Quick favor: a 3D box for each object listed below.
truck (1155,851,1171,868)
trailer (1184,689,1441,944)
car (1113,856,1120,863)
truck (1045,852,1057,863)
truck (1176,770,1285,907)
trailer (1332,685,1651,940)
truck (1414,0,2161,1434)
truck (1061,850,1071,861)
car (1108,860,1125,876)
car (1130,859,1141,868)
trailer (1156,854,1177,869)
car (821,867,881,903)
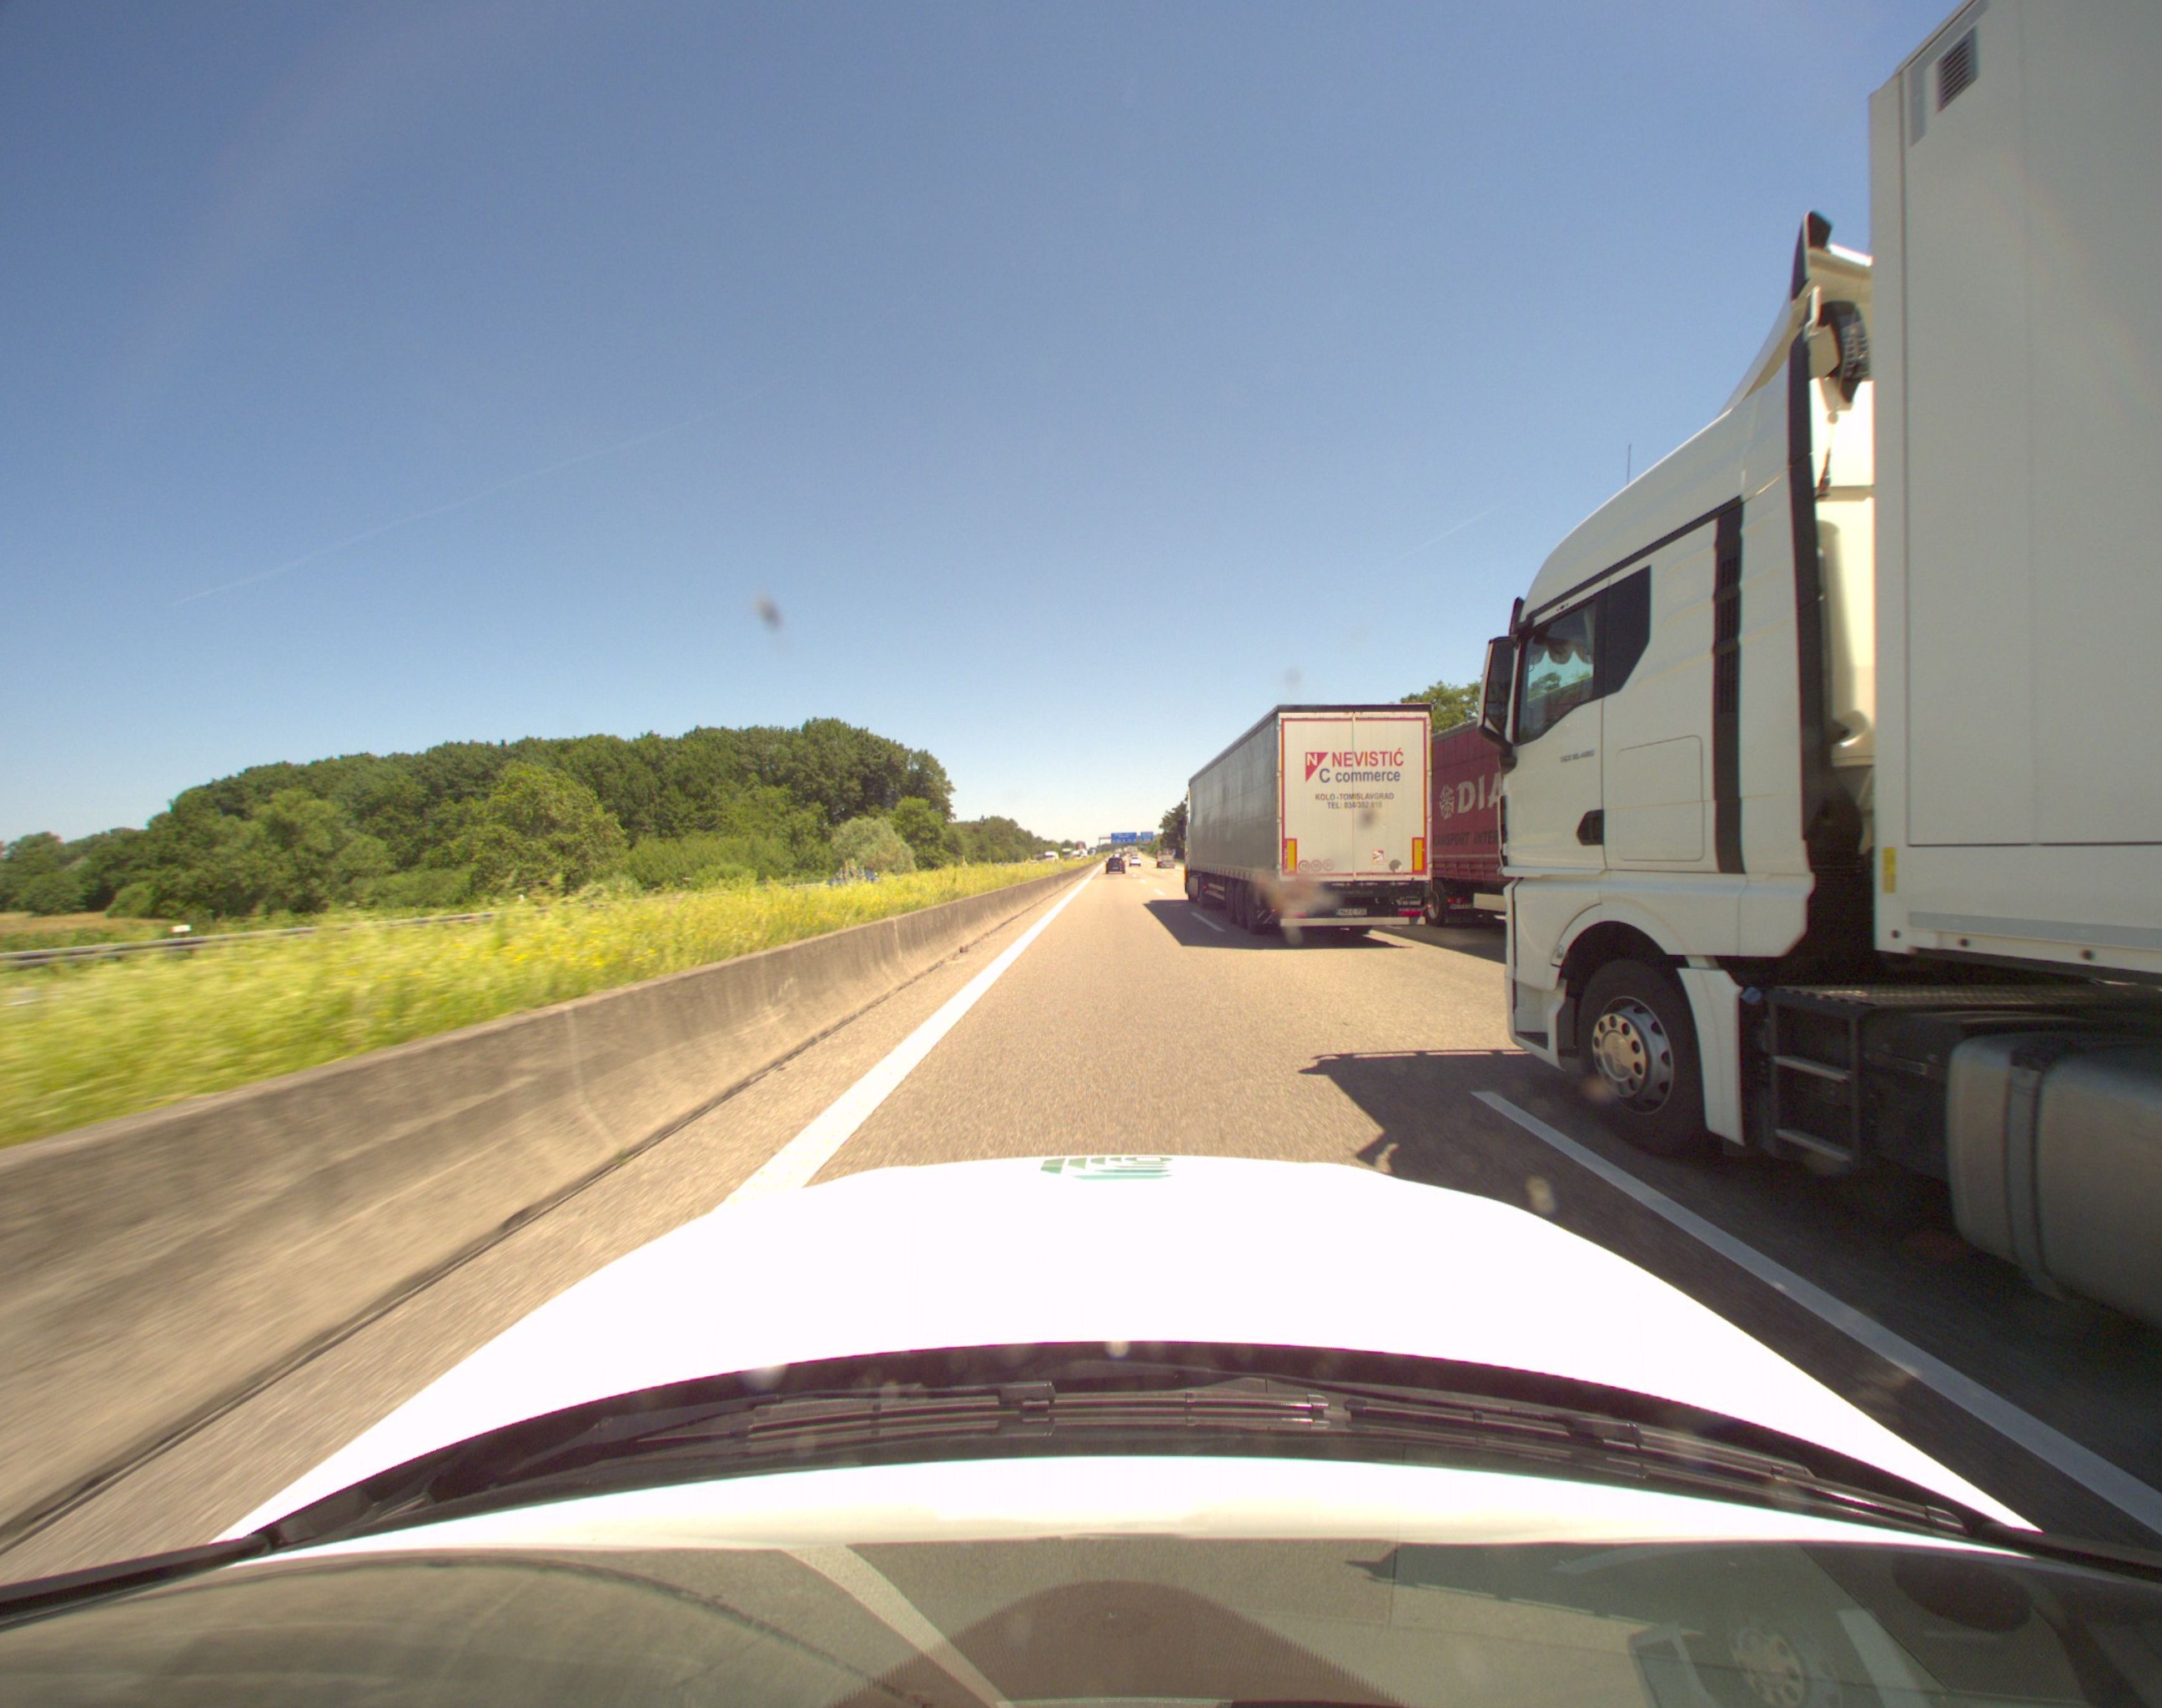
[{"bbox_3d":[11.908,0.799,118.151,1.986,2.373,4.646,-1,0,1],"label":"truck"},{"bbox_3d":[4.637,-0.506,20.452,2.697,4.068,14.751,-1,-1,2],"label":"trailer"},{"bbox_3d":[10.681,1.631,242.286,1.986,2.014,4.002,-3,-1,2],"label":"car"},{"bbox_3d":[-8.703,0.999,239.379,2.676,2.942,10.492,-2,0,2],"label":"truck"},{"bbox_3d":[4.889,-0.430,27.864,2.690,4.094,6.455,-1,-1,2],"label":"truck"},{"bbox_3d":[8.507,-0.630,18.955,2.307,4.241,10.658,-1,-1,2],"label":"trailer"},{"bbox_3d":[3.947,-0.649,3.301,2.790,4.007,6.022,-1,0,1],"label":"truck"},{"bbox_3d":[-4.357,0.457,241.357,2.597,3.008,6.975,-2,0,2],"label":"truck"},{"bbox_3d":[3.570,1.444,83.096,1.654,1.549,3.783,-1,-1,1],"label":"car"},{"bbox_3d":[9.009,1.558,134.798,1.733,1.486,4.002,-1,0,2],"label":"car"},{"bbox_3d":[11.783,0.998,112.783,2.412,2.013,6.035,-1,0,1],"label":"trailer"},{"bbox_3d":[-12.287,1.624,43.837,1.817,1.653,4.172,-4,-1,2],"label":"car"}]
